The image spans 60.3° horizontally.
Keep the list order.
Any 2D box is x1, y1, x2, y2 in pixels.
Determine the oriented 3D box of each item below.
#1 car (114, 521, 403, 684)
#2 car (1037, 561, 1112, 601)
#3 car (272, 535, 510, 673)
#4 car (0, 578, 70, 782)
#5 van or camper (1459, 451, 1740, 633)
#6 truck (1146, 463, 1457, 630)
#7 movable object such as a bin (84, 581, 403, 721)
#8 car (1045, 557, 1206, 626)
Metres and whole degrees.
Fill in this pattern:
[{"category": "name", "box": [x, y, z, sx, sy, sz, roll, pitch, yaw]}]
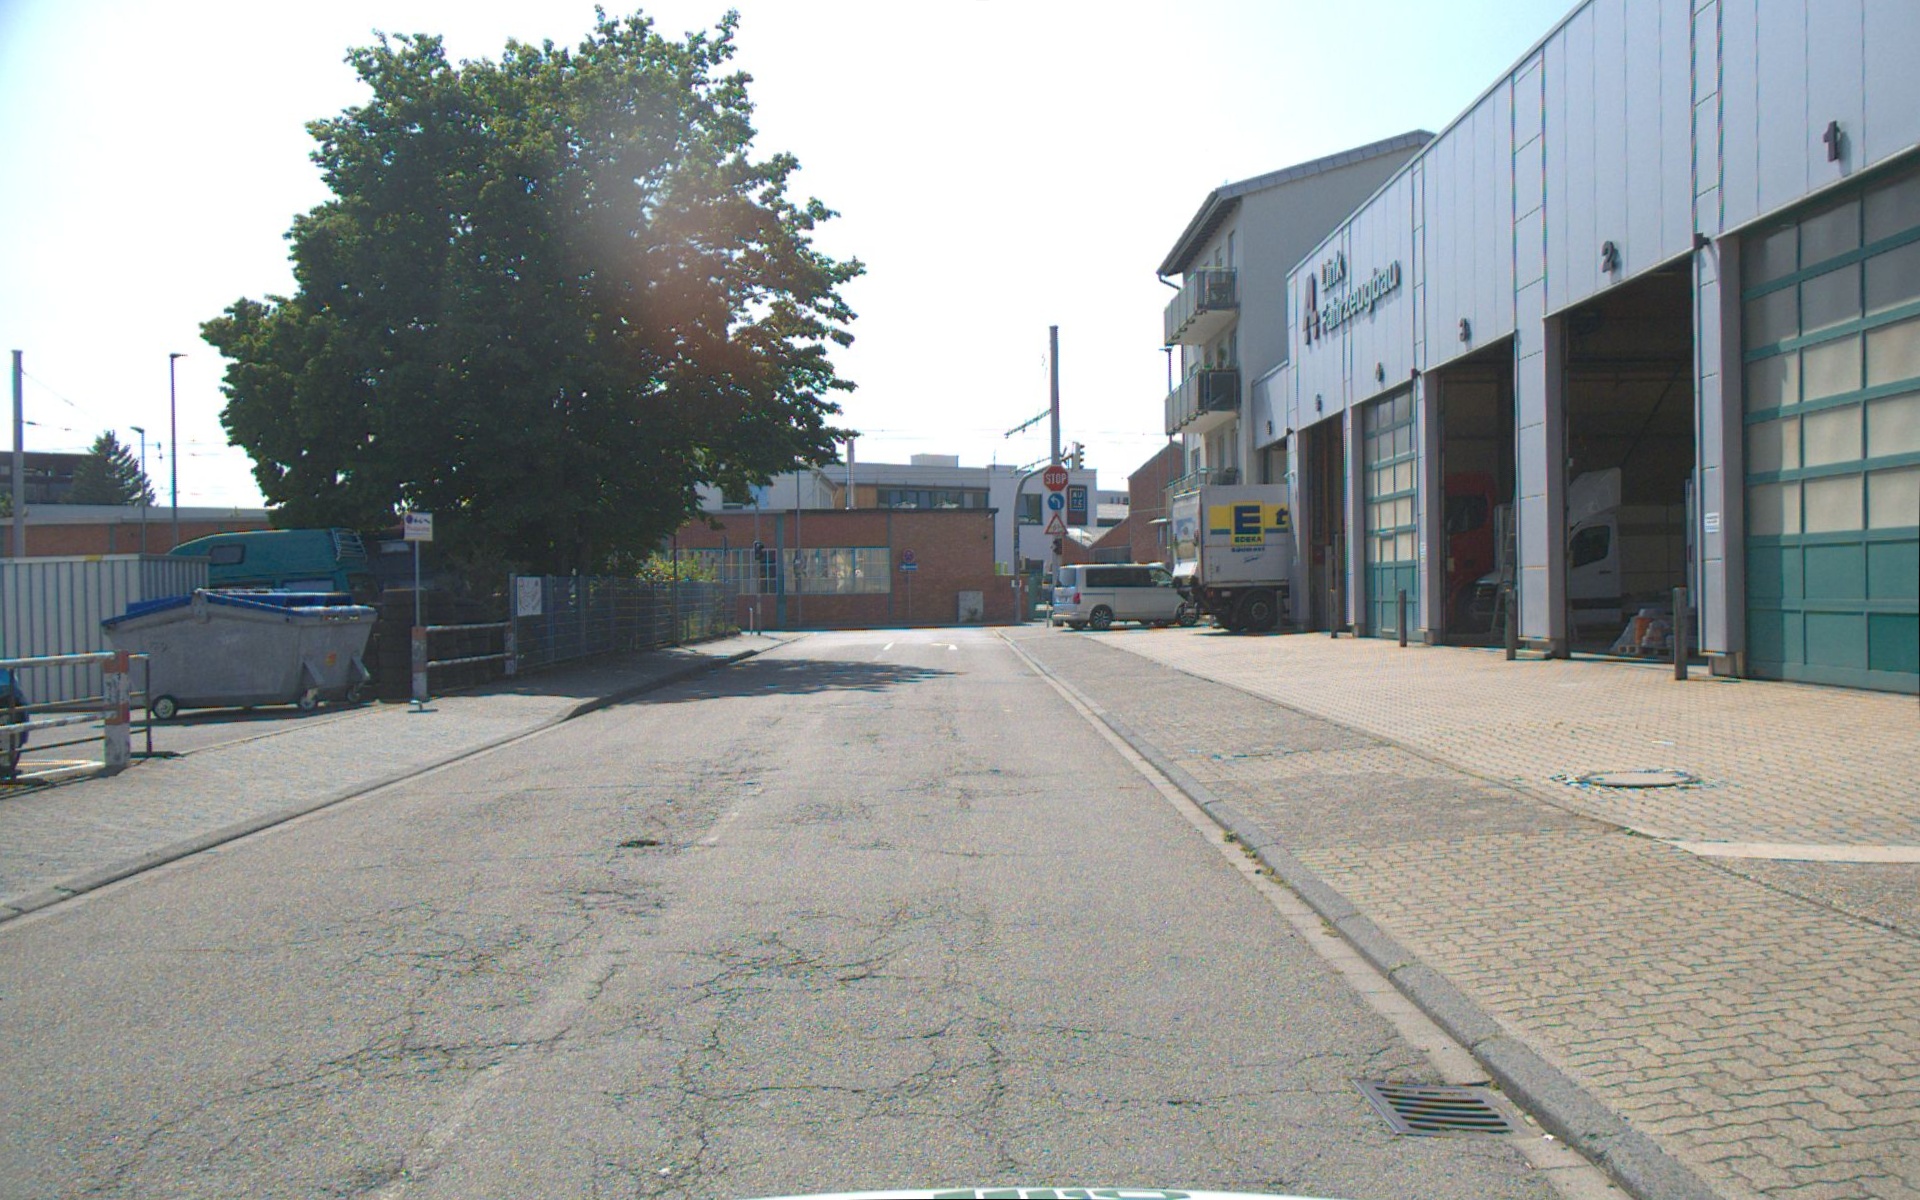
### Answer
[{"category": "car", "box": [-11.585, 0.031, 27.519, 4.003, 2.557, 1.776, -1, 0, -3]}, {"category": "car", "box": [6.654, -1.110, 96.250, 3.950, 2.228, 1.977, -1, 0, -33]}, {"category": "car", "box": [-11.067, 0.069, 32.350, 4.003, 2.557, 1.776, -1, 0, -3]}, {"category": "car", "box": [-8.222, 0.647, 11.827, 1.778, 1.557, 3.674, -2, 0, -2]}, {"category": "van or camper", "box": [12.356, -1.110, 32.132, 4.662, 3.346, 1.998, -1, 0, -4]}, {"category": "truck", "box": [8.773, -1.362, 42.854, 7.220, 3.708, 2.764, -4, 1, -7]}, {"category": "movable object such as a bin", "box": [-8.723, 0.575, 20.412, 2.571, 1.536, 2.730, -2, 0, 5]}, {"category": "car", "box": [5.108, -0.277, 51.188, 4.585, 1.992, 1.905, -1, 0, -20]}]
